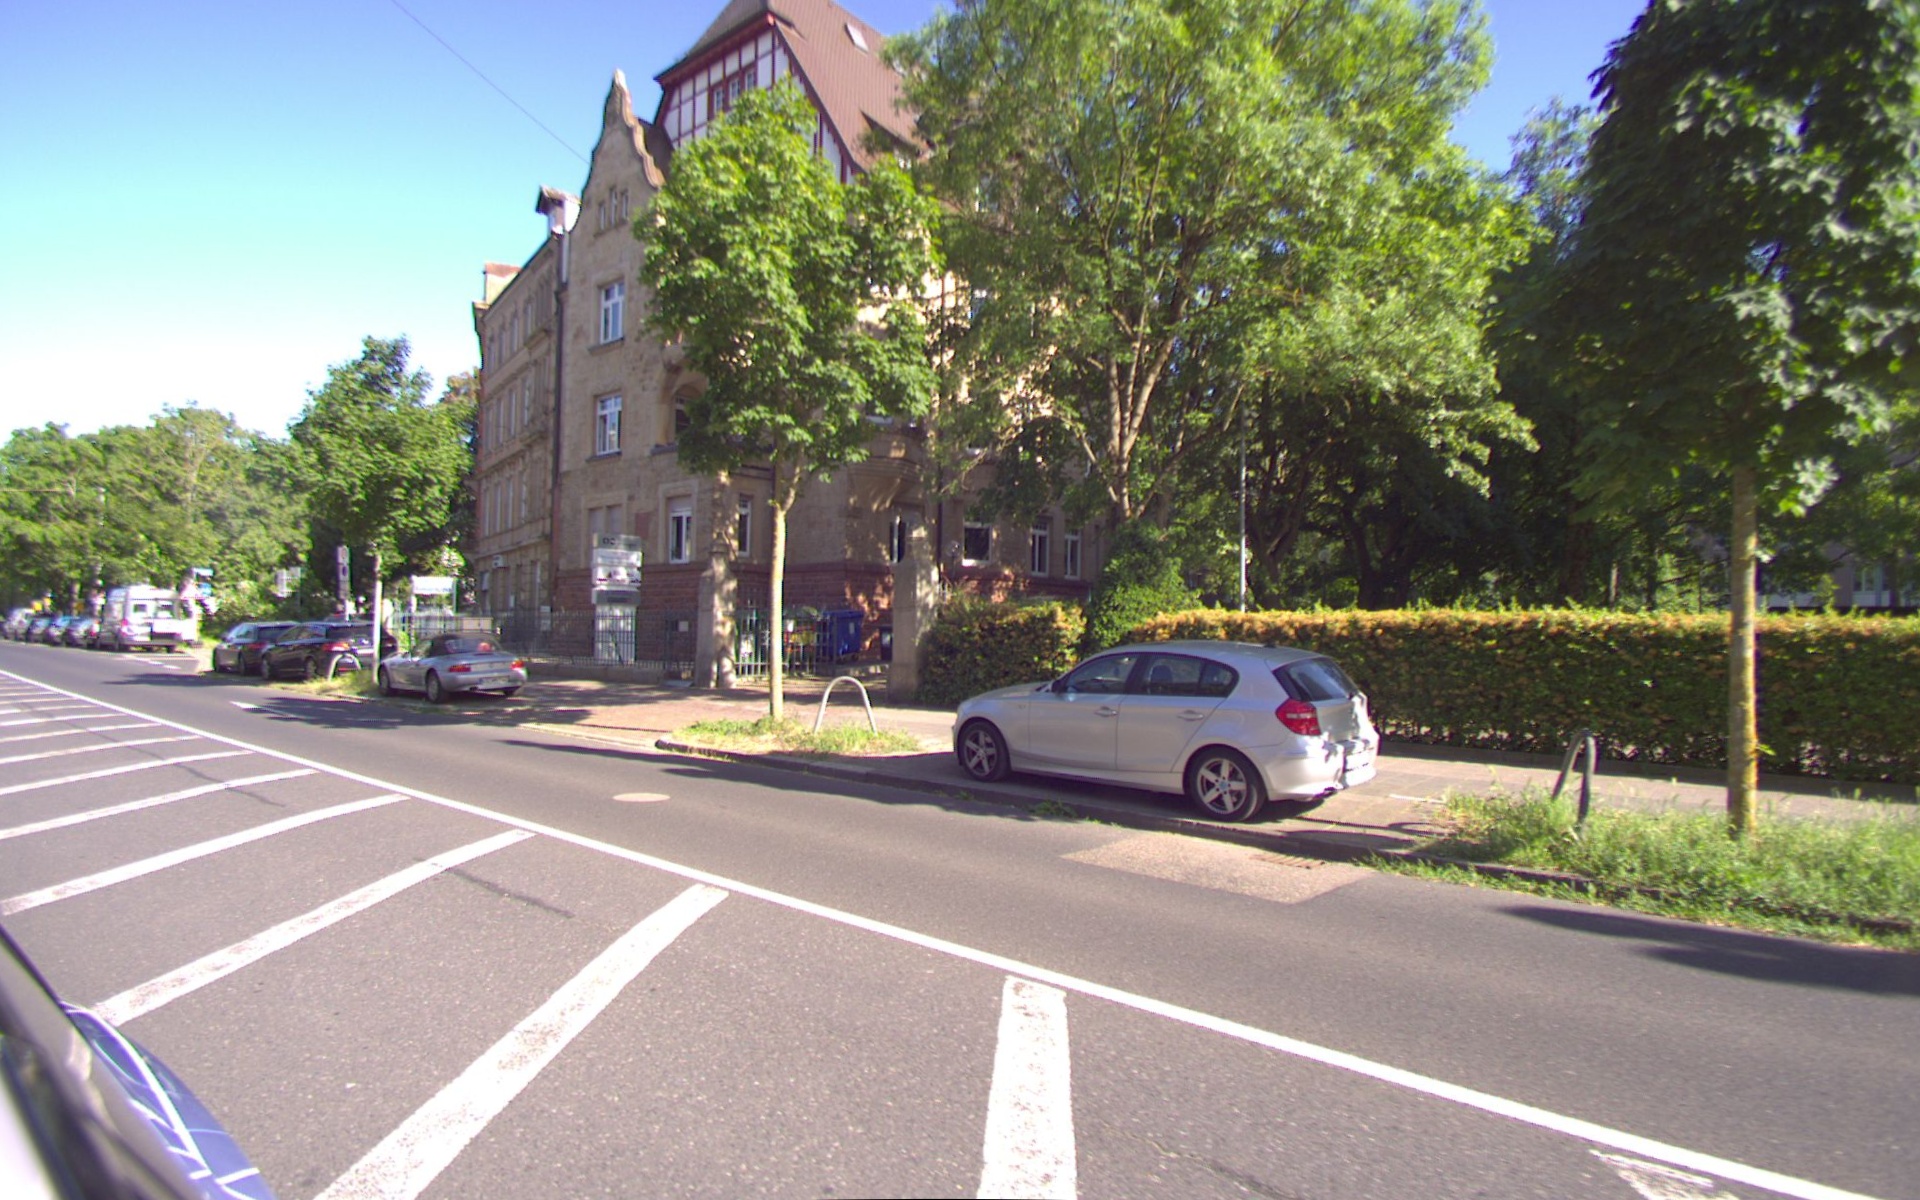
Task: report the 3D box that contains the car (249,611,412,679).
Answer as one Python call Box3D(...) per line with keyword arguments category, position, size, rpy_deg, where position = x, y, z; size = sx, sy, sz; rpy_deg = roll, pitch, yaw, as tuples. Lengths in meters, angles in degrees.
Box3D(category="car", position=(-15.878, 1.064, 25.451), size=(4.696, 1.505, 1.839), rpy_deg=(-1, 1, 36))

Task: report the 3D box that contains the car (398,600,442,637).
Box3D(category="car", position=(-29.833, 1.002, 56.000), size=(1.833, 1.928, 4.466), rpy_deg=(3, -2, -25))

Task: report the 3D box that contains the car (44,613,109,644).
Box3D(category="car", position=(-43.575, 1.411, 49.877), size=(4.402, 1.424, 1.762), rpy_deg=(-1, -4, 41))

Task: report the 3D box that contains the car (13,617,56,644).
Box3D(category="car", position=(-56.633, 1.863, 61.921), size=(3.956, 1.513, 1.449), rpy_deg=(0, -3, 41))

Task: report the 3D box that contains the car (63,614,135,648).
Box3D(category="car", position=(-39.947, 1.424, 46.937), size=(4.659, 1.468, 1.677), rpy_deg=(-1, -4, 39))

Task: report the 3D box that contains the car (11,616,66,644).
Box3D(category="car", position=(-53.440, 1.753, 58.642), size=(4.266, 1.493, 1.575), rpy_deg=(0, -3, 38))

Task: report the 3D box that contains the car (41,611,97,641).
Box3D(category="car", position=(-48.731, 1.378, 55.341), size=(4.557, 1.549, 1.761), rpy_deg=(0, 0, 42))

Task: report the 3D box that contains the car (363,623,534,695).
Box3D(category="car", position=(-10.176, 1.099, 20.026), size=(4.013, 1.265, 1.661), rpy_deg=(-1, -2, 41))

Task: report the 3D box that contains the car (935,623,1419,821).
Box3D(category="car", position=(1.838, 0.948, 9.504), size=(4.191, 1.394, 1.669), rpy_deg=(-1, 0, 43))

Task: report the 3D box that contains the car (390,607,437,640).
Box3D(category="car", position=(-27.733, 1.166, 51.427), size=(1.833, 1.524, 3.541), rpy_deg=(3, -2, -25))

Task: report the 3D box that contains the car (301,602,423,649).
Box3D(category="car", position=(-23.412, 0.958, 39.804), size=(1.976, 1.682, 4.135), rpy_deg=(-2, 0, 7))

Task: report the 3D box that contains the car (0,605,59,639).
Box3D(category="car", position=(-60.477, 1.436, 65.671), size=(4.867, 2.052, 1.965), rpy_deg=(-1, -5, 37))

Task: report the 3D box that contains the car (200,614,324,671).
Box3D(category="car", position=(-20.098, 1.157, 29.057), size=(4.718, 1.438, 1.836), rpy_deg=(-1, 1, 42))

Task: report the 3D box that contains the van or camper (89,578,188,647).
Box3D(category="van or camper", position=(-35.376, 0.590, 43.522), size=(6.084, 2.760, 2.193), rpy_deg=(-1, -3, 41))
